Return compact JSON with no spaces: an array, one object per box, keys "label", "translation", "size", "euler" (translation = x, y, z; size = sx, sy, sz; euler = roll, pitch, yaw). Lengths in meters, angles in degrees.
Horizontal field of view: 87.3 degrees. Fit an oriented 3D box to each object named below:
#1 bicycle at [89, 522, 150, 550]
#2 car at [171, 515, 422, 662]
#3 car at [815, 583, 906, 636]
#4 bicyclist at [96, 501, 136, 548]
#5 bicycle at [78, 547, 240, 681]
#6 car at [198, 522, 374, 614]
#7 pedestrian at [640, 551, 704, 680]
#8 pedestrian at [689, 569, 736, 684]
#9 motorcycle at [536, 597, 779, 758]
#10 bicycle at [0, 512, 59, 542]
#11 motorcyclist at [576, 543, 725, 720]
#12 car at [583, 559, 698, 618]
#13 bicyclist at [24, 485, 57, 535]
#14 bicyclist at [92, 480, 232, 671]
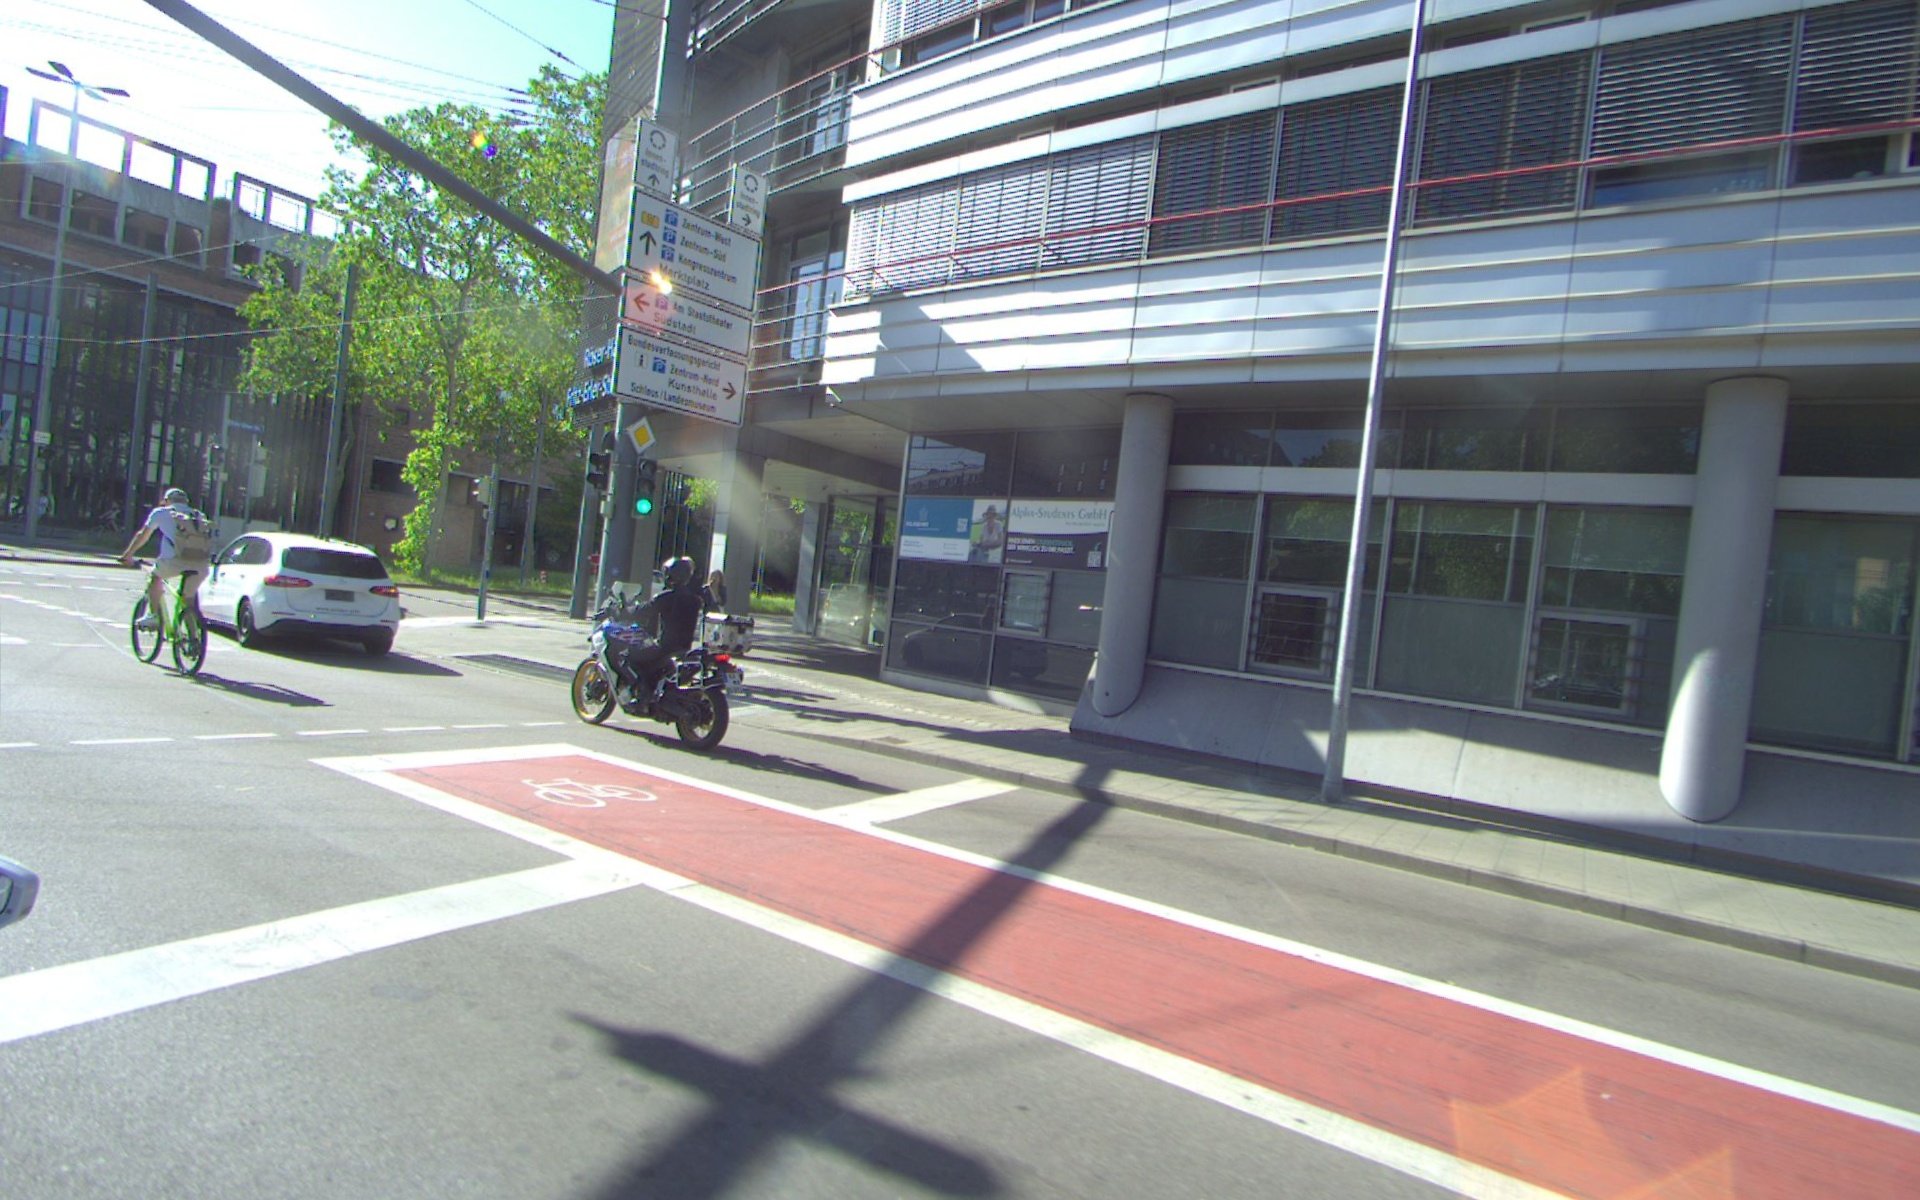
[{"label":"bicycle","translation":[-32.412,-2.461,38.817],"size":[0.661,0.816,1.673],"euler":[6,0,22]},{"label":"car","translation":[-9.757,-0.208,14.676],"size":[4.080,1.602,1.905],"euler":[7,-2,41]},{"label":"car","translation":[-4.153,0.442,42.892],"size":[1.788,1.875,4.388],"euler":[6,-1,24]},{"label":"bicyclist","translation":[-32.426,-2.889,38.640],"size":[0.659,1.650,0.865],"euler":[6,1,23]},{"label":"bicycle","translation":[-8.102,0.132,10.154],"size":[1.728,1.124,0.650],"euler":[7,1,31]},{"label":"car","translation":[-14.615,-0.647,22.116],"size":[1.884,1.559,4.125],"euler":[8,-2,-16]},{"label":"pedestrian","translation":[-4.276,0.216,14.971],"size":[0.628,1.822,0.607],"euler":[6,2,-3]},{"label":"pedestrian","translation":[-3.703,0.384,15.078],"size":[0.421,1.667,0.561],"euler":[6,2,-3]},{"label":"motorcycle","translation":[-2.973,0.711,9.768],"size":[2.352,1.215,0.830],"euler":[6,-1,33]},{"label":"bicycle","translation":[-37.482,-2.934,40.510],"size":[0.660,1.007,1.675],"euler":[6,0,13]},{"label":"motorcyclist","translation":[-3.010,0.314,9.810],"size":[0.927,1.579,0.830],"euler":[6,-1,33]},{"label":"car","translation":[-11.902,-0.388,37.783],"size":[1.877,1.601,4.003],"euler":[9,-1,20]},{"label":"bicyclist","translation":[-37.317,-3.632,40.821],"size":[0.638,1.907,0.608],"euler":[6,1,12]},{"label":"bicyclist","translation":[-8.029,-0.242,10.120],"size":[1.028,1.774,0.650],"euler":[8,1,31]}]
